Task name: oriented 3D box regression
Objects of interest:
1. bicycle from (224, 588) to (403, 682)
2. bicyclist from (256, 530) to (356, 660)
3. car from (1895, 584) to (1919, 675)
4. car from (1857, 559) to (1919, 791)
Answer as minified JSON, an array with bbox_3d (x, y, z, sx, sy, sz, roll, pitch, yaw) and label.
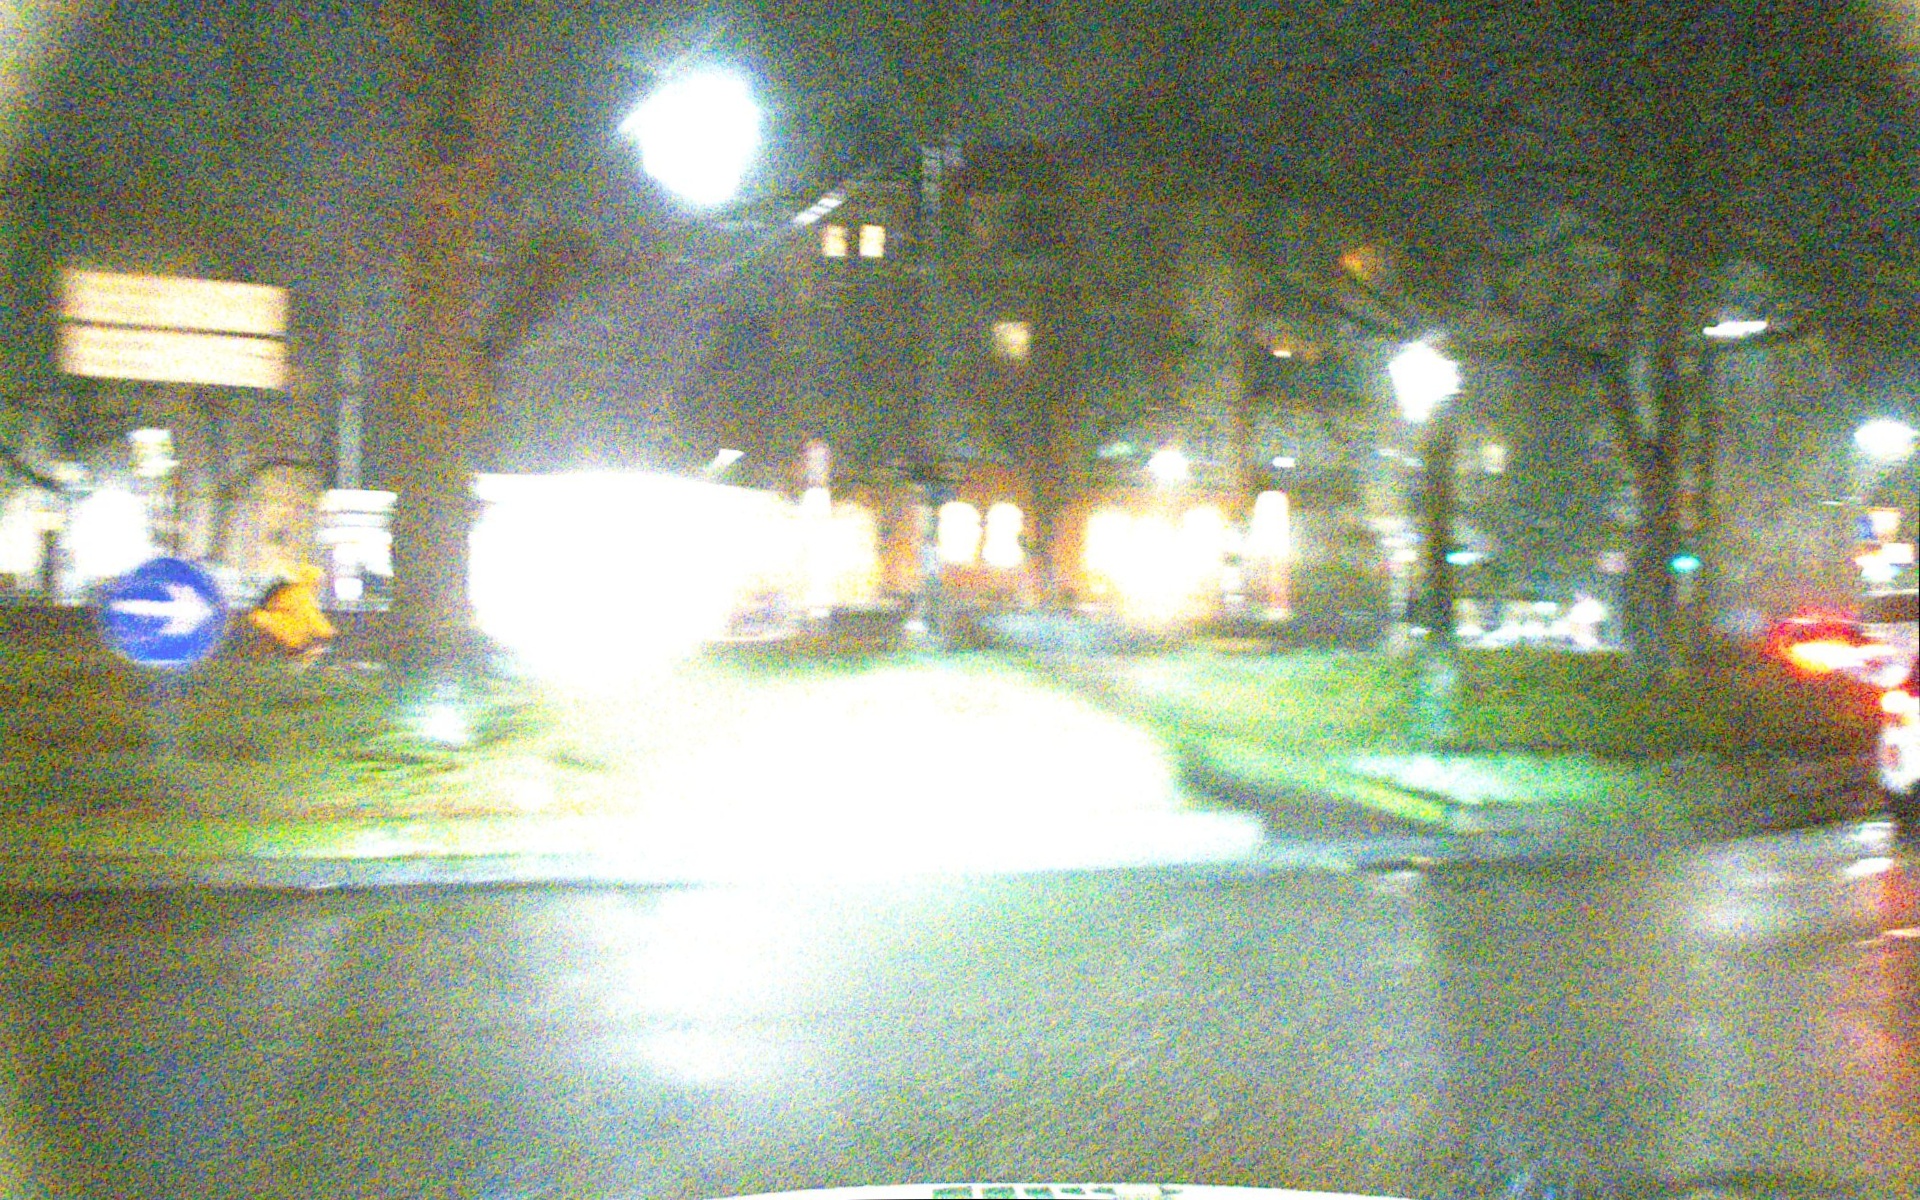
[{"bbox_3d":[-7.224,0.402,18.537,1.765,0.948,0.493,4,-1,-37],"label":"bicycle"},{"bbox_3d":[-7.372,-0.054,18.649,0.885,1.404,0.498,4,-1,-37],"label":"bicyclist"},{"bbox_3d":[19.444,0.616,31.590,1.952,1.758,4.001,3,-1,19],"label":"car"},{"bbox_3d":[8.407,0.641,12.584,3.432,1.641,1.710,4,-1,-42],"label":"car"}]
